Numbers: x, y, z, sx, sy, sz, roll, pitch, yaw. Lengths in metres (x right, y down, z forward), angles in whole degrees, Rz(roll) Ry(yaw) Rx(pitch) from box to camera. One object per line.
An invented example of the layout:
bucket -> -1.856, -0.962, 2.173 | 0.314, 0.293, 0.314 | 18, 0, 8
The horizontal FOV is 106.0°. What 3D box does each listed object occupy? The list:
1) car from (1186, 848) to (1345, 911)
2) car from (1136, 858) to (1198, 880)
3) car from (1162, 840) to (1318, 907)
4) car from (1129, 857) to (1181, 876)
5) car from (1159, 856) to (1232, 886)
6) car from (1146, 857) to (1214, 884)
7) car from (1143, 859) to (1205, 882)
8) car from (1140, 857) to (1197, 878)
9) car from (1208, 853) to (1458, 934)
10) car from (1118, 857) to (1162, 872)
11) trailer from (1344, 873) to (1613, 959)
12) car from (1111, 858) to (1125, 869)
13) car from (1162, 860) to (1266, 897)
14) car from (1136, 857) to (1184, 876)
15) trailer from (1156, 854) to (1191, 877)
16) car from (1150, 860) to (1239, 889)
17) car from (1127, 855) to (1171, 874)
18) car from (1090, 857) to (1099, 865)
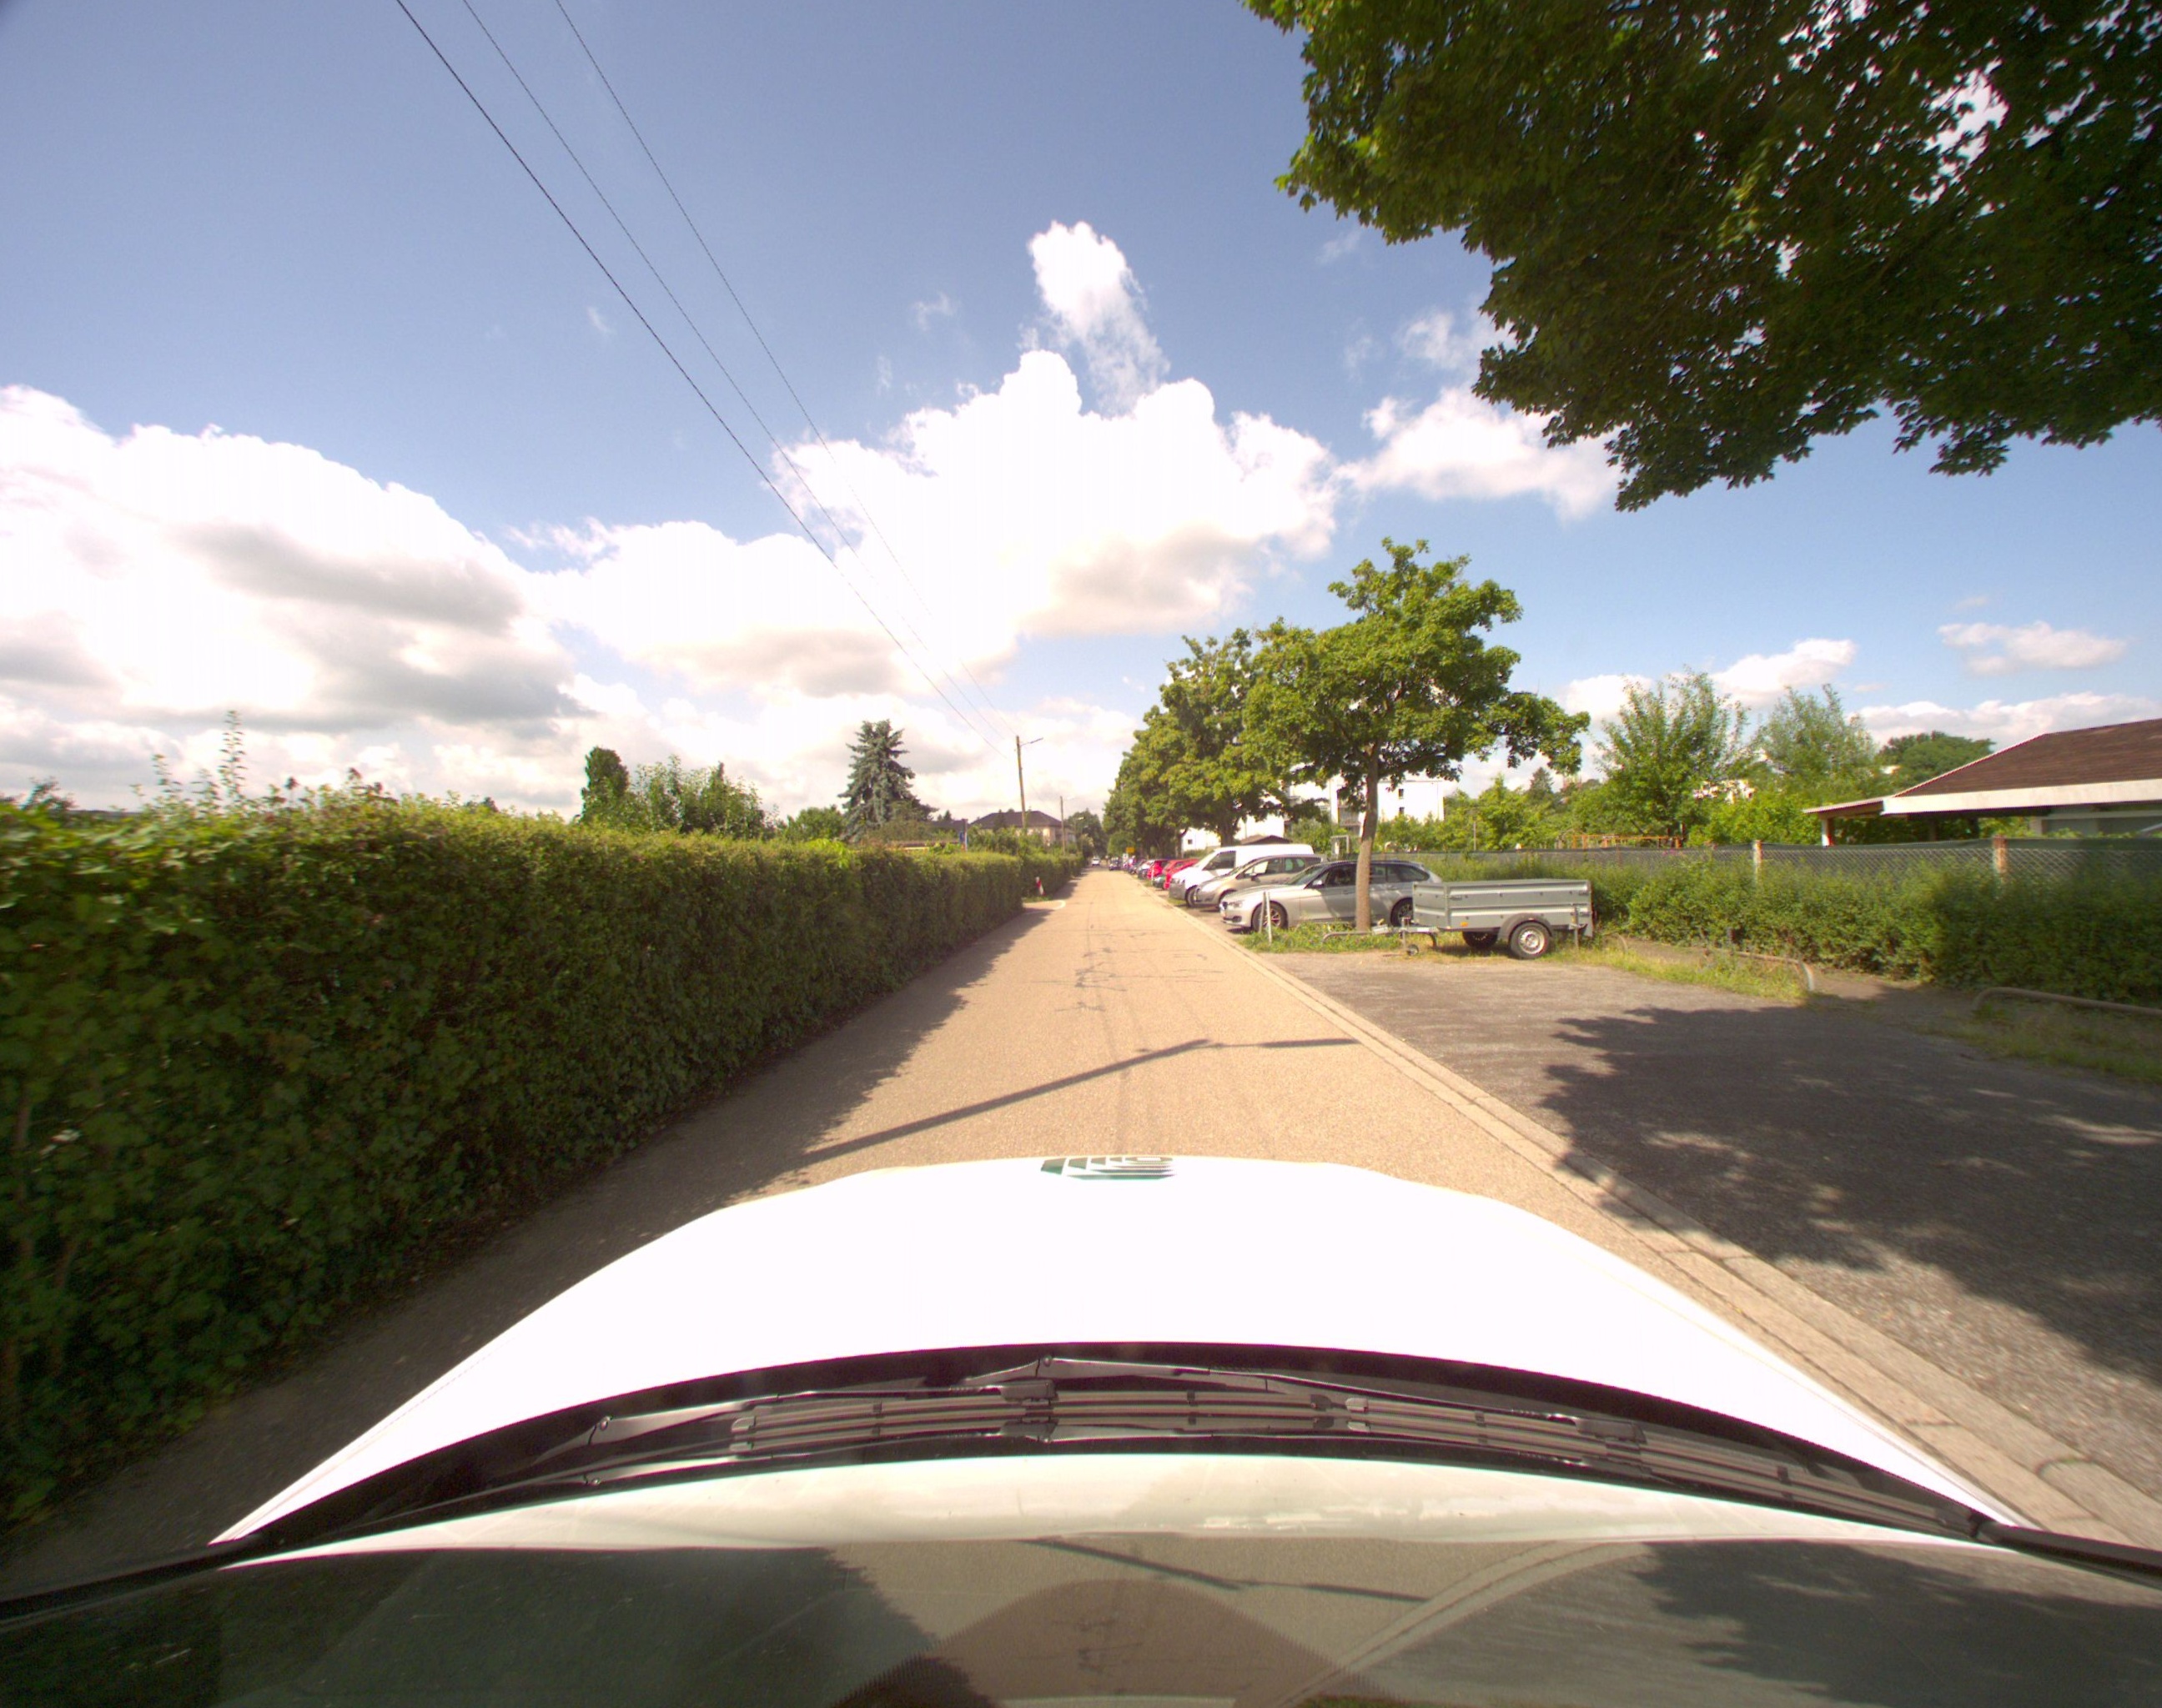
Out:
car -> 5.314, 0.726, 23.908 | 4.228, 1.592, 2.001 | -3, 0, 1
car -> 5.872, 1.008, 55.733 | 4.053, 1.455, 1.869 | 0, -1, -1
car -> 5.114, 0.628, 26.658 | 4.620, 1.886, 2.111 | -3, 0, -1
car -> 6.226, 1.037, 69.005 | 4.287, 1.594, 2.000 | 0, -1, 0
car -> 6.192, 0.914, 44.241 | 3.751, 1.574, 1.870 | 0, -1, 0
car -> 5.950, 0.989, 49.047 | 3.968, 1.520, 1.857 | 0, -1, 4
car -> 5.991, 1.037, 52.562 | 3.892, 1.424, 1.960 | 0, -1, 4
car -> 6.327, 0.972, 59.334 | 4.046, 1.511, 1.960 | 0, -1, 4
car -> 5.097, 0.776, 16.951 | 4.566, 1.466, 1.998 | -1, 0, -2
car -> 6.232, 1.103, 86.246 | 4.534, 1.578, 1.808 | 0, -1, 0
trailer -> 5.785, 0.883, 12.204 | 3.088, 1.142, 2.001 | 0, -1, 1
car -> 5.116, 1.301, 111.149 | 1.655, 1.506, 4.007 | 0, -1, 6
car -> 5.554, 1.003, 34.385 | 4.166, 1.504, 1.879 | 0, -1, 2
car -> 6.407, 0.996, 66.418 | 3.713, 1.540, 1.848 | 0, -1, -2
trailer -> 7.201, 0.877, 63.518 | 2.444, 1.720, 1.517 | 0, 0, -3
car -> 5.733, 1.025, 41.522 | 4.228, 1.428, 1.906 | 0, -1, -3
car -> 6.632, 1.043, 79.596 | 4.139, 1.637, 1.879 | -2, -1, 1
car -> 2.986, 1.507, 179.636 | 1.894, 1.814, 4.004 | 0, -1, 4
